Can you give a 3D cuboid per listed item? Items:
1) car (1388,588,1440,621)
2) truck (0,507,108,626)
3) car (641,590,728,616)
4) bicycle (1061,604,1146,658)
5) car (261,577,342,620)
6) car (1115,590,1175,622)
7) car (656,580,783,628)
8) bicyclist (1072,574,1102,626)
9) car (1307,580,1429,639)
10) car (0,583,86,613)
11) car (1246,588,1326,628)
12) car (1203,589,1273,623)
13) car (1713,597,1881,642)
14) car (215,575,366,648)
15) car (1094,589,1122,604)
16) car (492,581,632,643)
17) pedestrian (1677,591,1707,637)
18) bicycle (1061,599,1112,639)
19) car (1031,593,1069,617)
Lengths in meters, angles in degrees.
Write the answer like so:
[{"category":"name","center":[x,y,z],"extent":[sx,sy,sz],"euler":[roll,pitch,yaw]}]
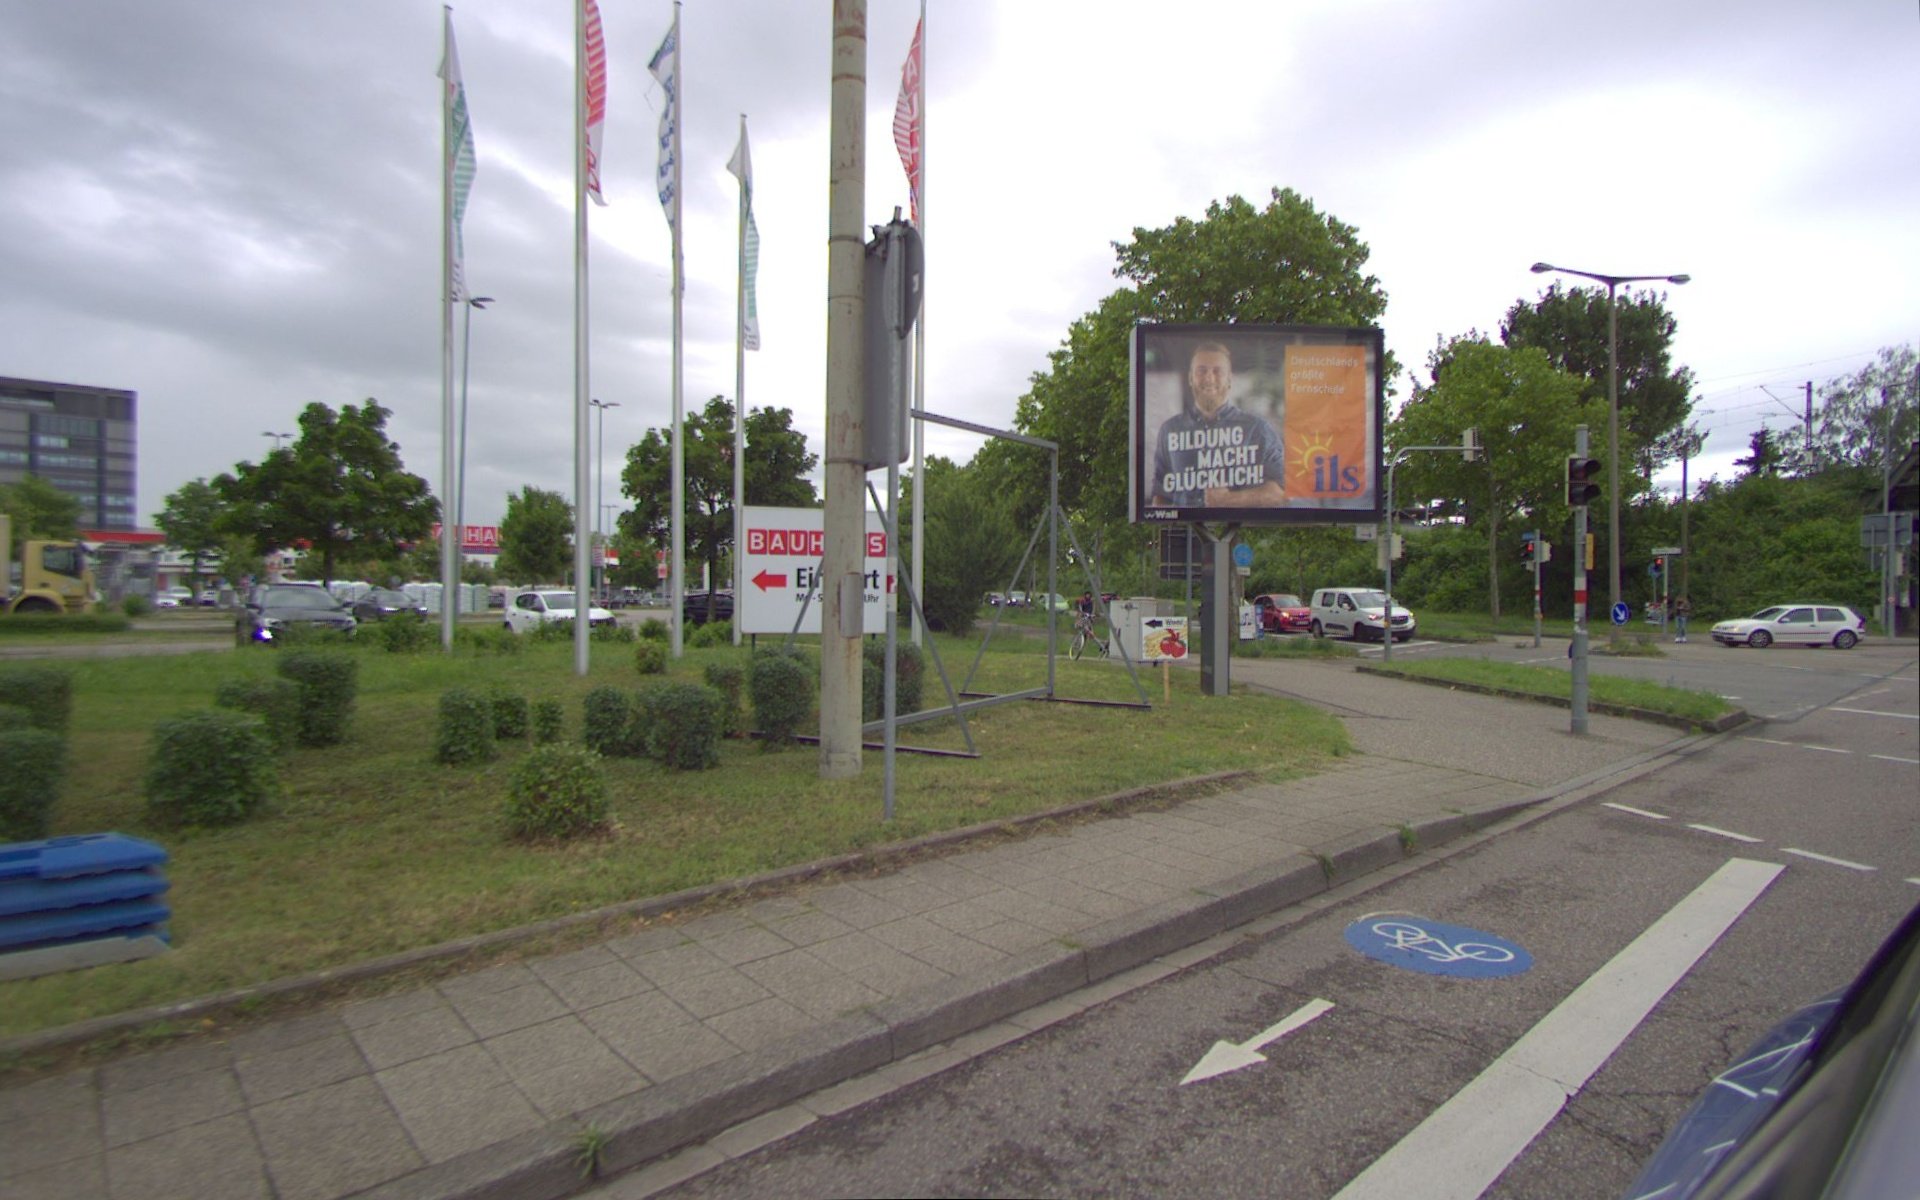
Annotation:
[{"category":"car","center":[21.186,0.207,47.350],"extent":[1.661,1.450,3.754],"euler":[-2,-1,16]},{"category":"truck","center":[-31.716,-0.961,30.504],"extent":[9.095,3.609,2.942],"euler":[-1,-1,-43]},{"category":"car","center":[-18.678,0.186,68.837],"extent":[5.607,1.698,2.160],"euler":[0,1,-12]},{"category":"bicycle","center":[3.098,0.655,21.865],"extent":[1.778,1.132,0.487],"euler":[0,0,10]},{"category":"car","center":[-24.865,-0.111,38.147],"extent":[1.953,1.525,4.561],"euler":[-1,1,-41]},{"category":"car","center":[8.950,0.261,49.311],"extent":[1.662,1.501,4.072],"euler":[0,1,-8]},{"category":"car","center":[-8.362,0.139,35.522],"extent":[4.149,1.516,1.828],"euler":[-2,-1,-7]},{"category":"bicyclist","center":[3.839,-0.008,30.518],"extent":[0.570,1.539,0.761],"euler":[0,0,-26]},{"category":"car","center":[14.035,0.272,35.120],"extent":[1.842,1.851,4.429],"euler":[-2,1,-10]},{"category":"car","center":[-55.401,-0.121,60.769],"extent":[4.428,1.691,1.996],"euler":[-1,-1,-41]},{"category":"car","center":[13.299,0.290,41.493],"extent":[1.662,1.551,3.694],"euler":[0,1,-8]},{"category":"car","center":[12.890,0.247,47.113],"extent":[1.662,1.501,4.072],"euler":[0,1,-8]},{"category":"car","center":[27.642,0.641,33.568],"extent":[3.880,1.442,1.721],"euler":[-1,-1,12]},{"category":"car","center":[-15.364,0.278,23.131],"extent":[4.597,1.516,1.901],"euler":[-2,-1,44]},{"category":"car","center":[13.519,-0.293,92.743],"extent":[1.619,1.297,3.424],"euler":[-1,-1,-8]},{"category":"car","center":[-10.597,0.321,26.823],"extent":[4.221,1.516,1.901],"euler":[-2,-1,44]},{"category":"pedestrian","center":[27.056,0.507,37.386],"extent":[0.765,1.661,0.743],"euler":[0,0,-40]},{"category":"bicycle","center":[3.808,0.555,30.611],"extent":[0.570,1.163,1.898],"euler":[0,1,-25]},{"category":"car","center":[6.073,0.363,68.736],"extent":[1.749,1.552,4.004],"euler":[-1,0,-7]}]
